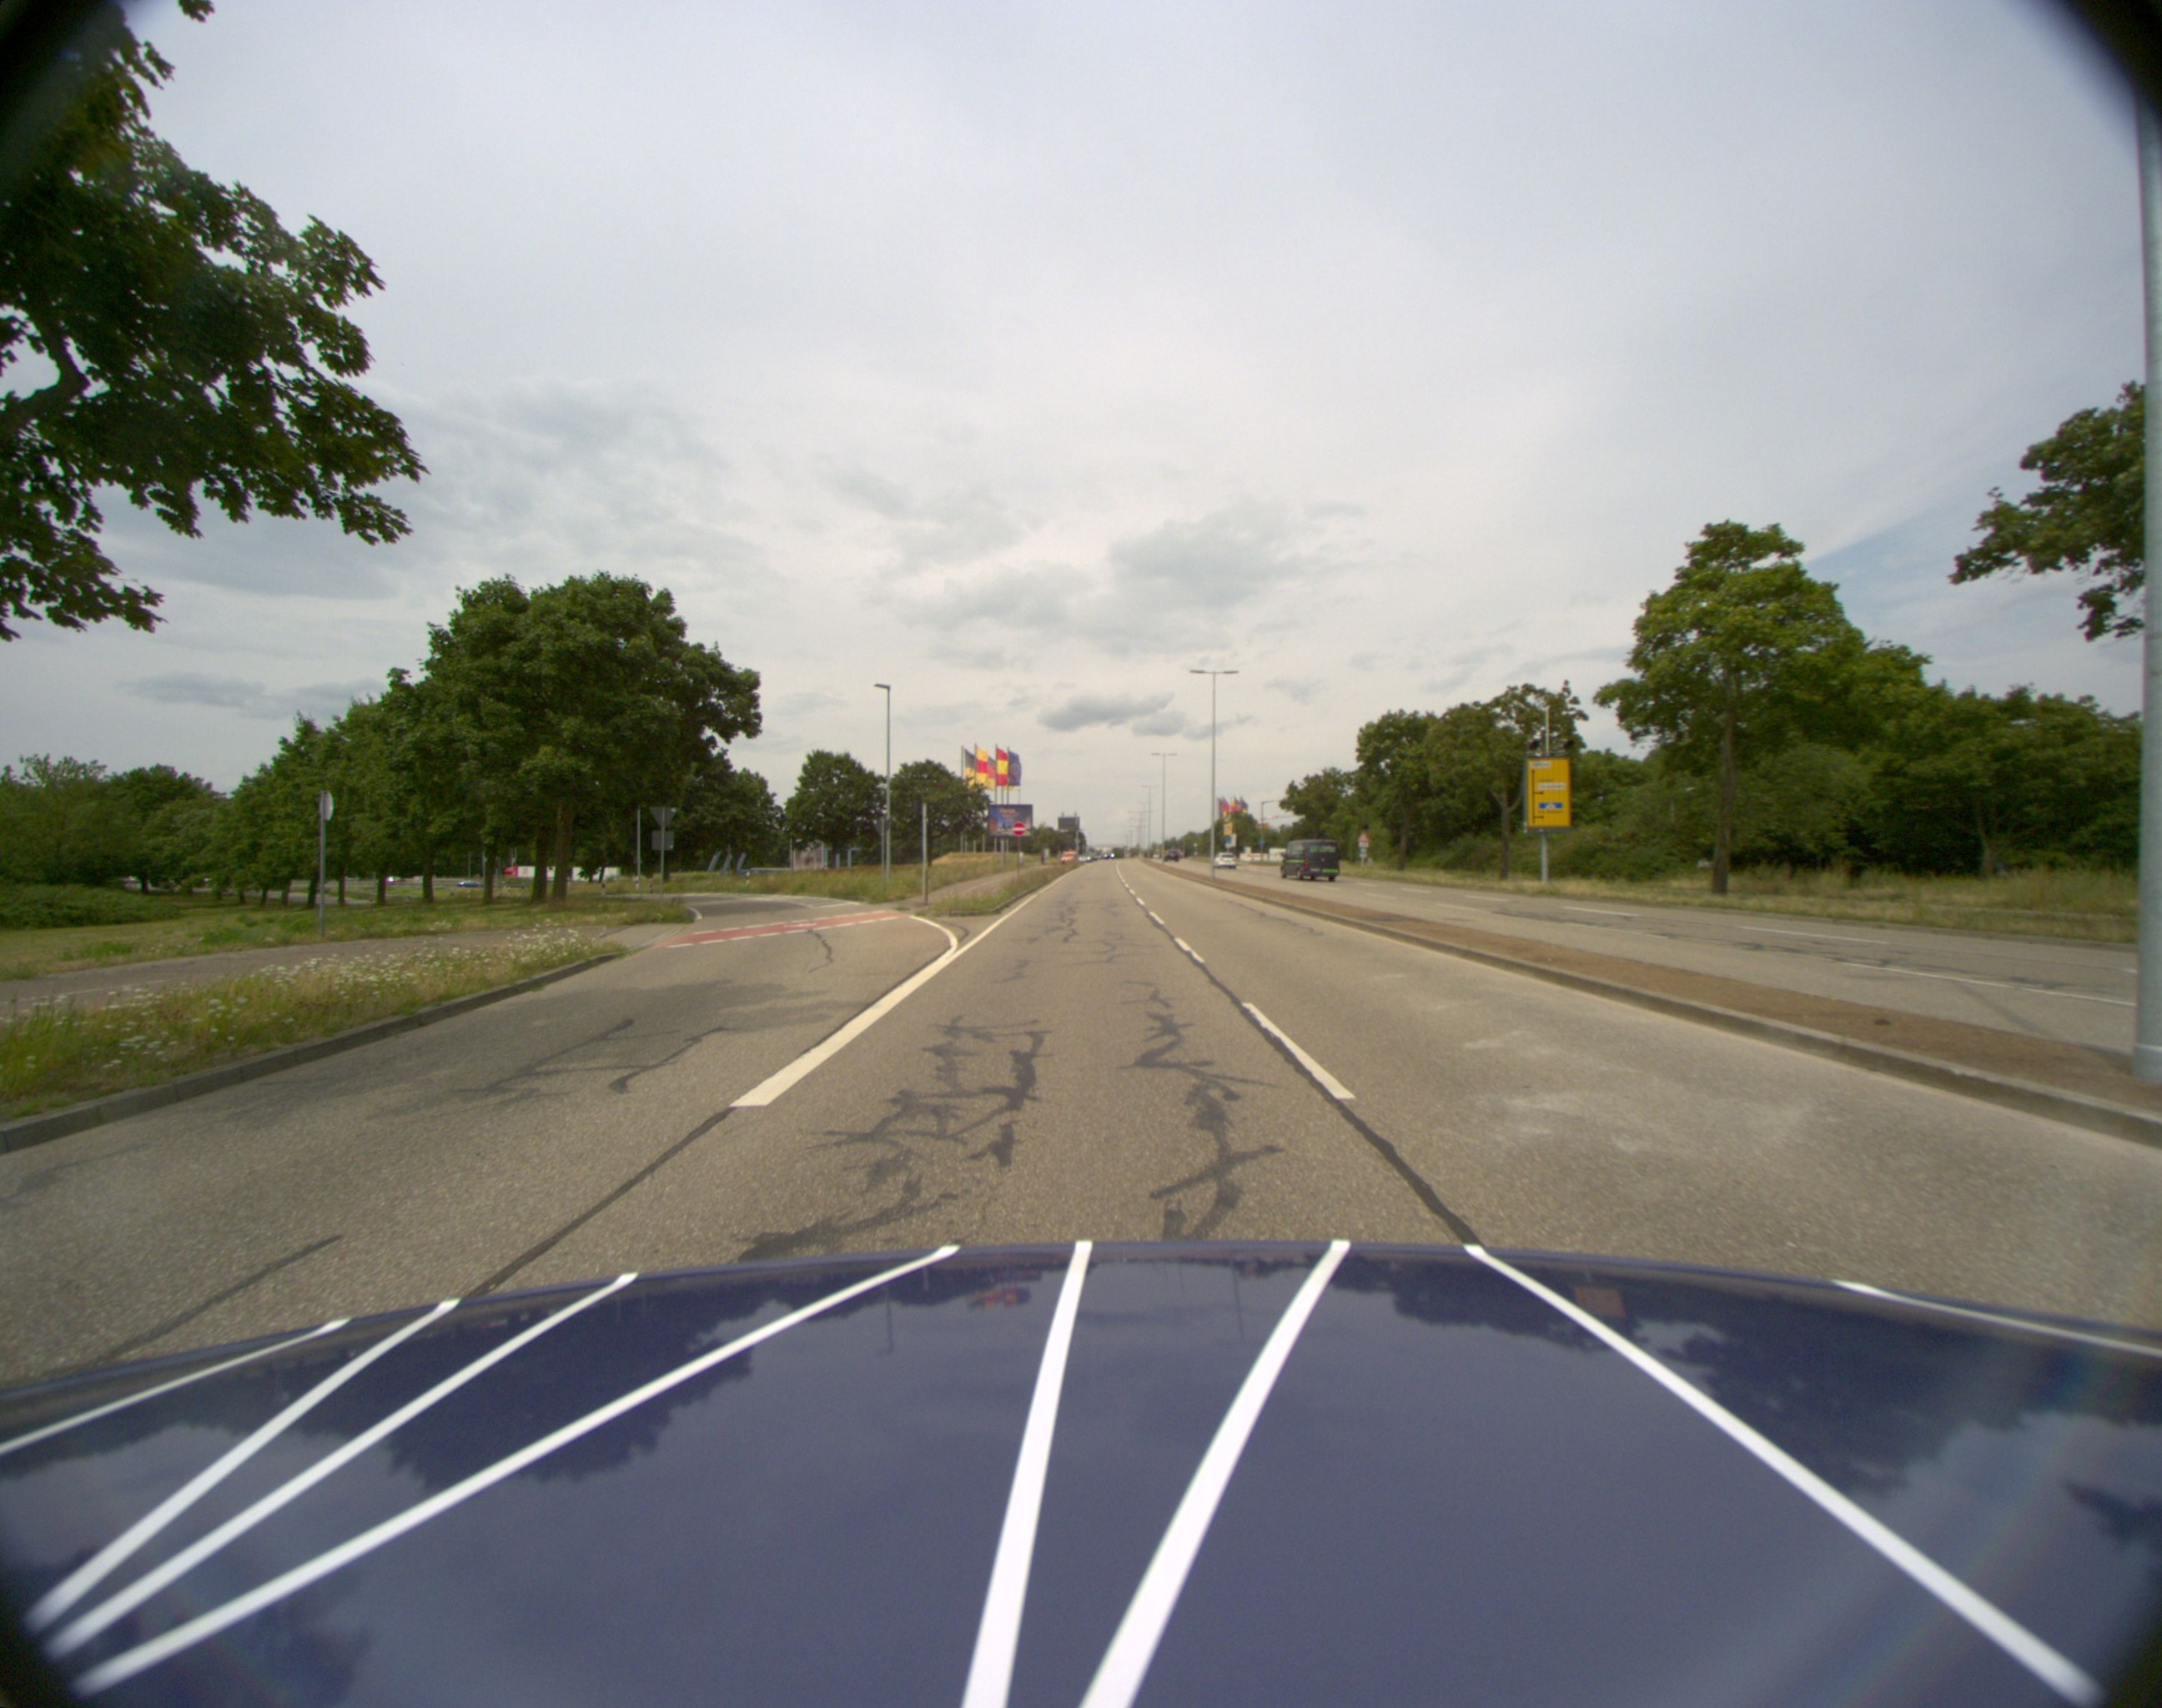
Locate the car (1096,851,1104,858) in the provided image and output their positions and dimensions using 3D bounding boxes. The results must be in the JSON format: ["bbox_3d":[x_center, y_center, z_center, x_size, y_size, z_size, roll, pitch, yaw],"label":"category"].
[{"bbox_3d":[3.461,0.104,138.223,1.558,1.229,3.470,-2,-1,2],"label":"car"}]

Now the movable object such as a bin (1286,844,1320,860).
[{"bbox_3d":[33.542,-0.295,114.799,4.593,2.382,1.999,-1,-1,-8],"label":"movable object such as a bin"}]

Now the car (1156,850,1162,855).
[{"bbox_3d":[25.502,-0.486,249.202,1.698,1.619,4.385,-1,-1,3],"label":"car"}]

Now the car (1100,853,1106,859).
[{"bbox_3d":[5.081,0.421,175.498,1.558,1.229,3.470,-2,-1,2],"label":"car"}]

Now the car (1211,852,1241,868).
[{"bbox_3d":[13.635,0.553,71.702,1.998,1.422,4.689,1,0,2],"label":"car"}]

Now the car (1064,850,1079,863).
[{"bbox_3d":[-1.310,0.374,106.214,1.892,1.824,4.431,-2,-1,2],"label":"car"}]

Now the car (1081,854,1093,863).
[{"bbox_3d":[0.899,0.686,114.816,1.695,1.403,3.684,-2,-1,0],"label":"car"}]

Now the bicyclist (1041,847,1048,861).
[{"bbox_3d":[-4.639,-0.003,96.627,0.705,1.745,0.991,0,0,1],"label":"bicyclist"}]

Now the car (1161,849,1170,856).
[{"bbox_3d":[22.744,-0.365,204.979,1.907,1.798,4.541,-1,-1,2],"label":"car"}]

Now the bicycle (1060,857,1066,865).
[{"bbox_3d":[-2.058,0.811,88.473,0.625,0.883,2.154,-1,0,1],"label":"bicycle"}]

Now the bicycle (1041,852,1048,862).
[{"bbox_3d":[-4.633,0.401,96.532,0.695,1.185,2.461,0,0,1],"label":"bicycle"}]

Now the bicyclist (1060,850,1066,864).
[{"bbox_3d":[-2.073,0.342,88.432,0.623,1.656,0.669,2,0,1],"label":"bicyclist"}]

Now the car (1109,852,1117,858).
[{"bbox_3d":[6.735,0.164,158.203,1.558,1.229,3.470,-2,-1,2],"label":"car"}]

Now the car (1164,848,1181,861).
[{"bbox_3d":[13.704,0.100,113.803,1.998,1.800,4.798,0,-1,1],"label":"car"}]

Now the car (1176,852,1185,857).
[{"bbox_3d":[24.654,0.144,188.244,1.758,1.314,4.348,-1,-1,4],"label":"car"}]

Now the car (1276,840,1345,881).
[{"bbox_3d":[12.978,0.358,43.375,2.100,2.188,6.004,1,0,0],"label":"car"}]
